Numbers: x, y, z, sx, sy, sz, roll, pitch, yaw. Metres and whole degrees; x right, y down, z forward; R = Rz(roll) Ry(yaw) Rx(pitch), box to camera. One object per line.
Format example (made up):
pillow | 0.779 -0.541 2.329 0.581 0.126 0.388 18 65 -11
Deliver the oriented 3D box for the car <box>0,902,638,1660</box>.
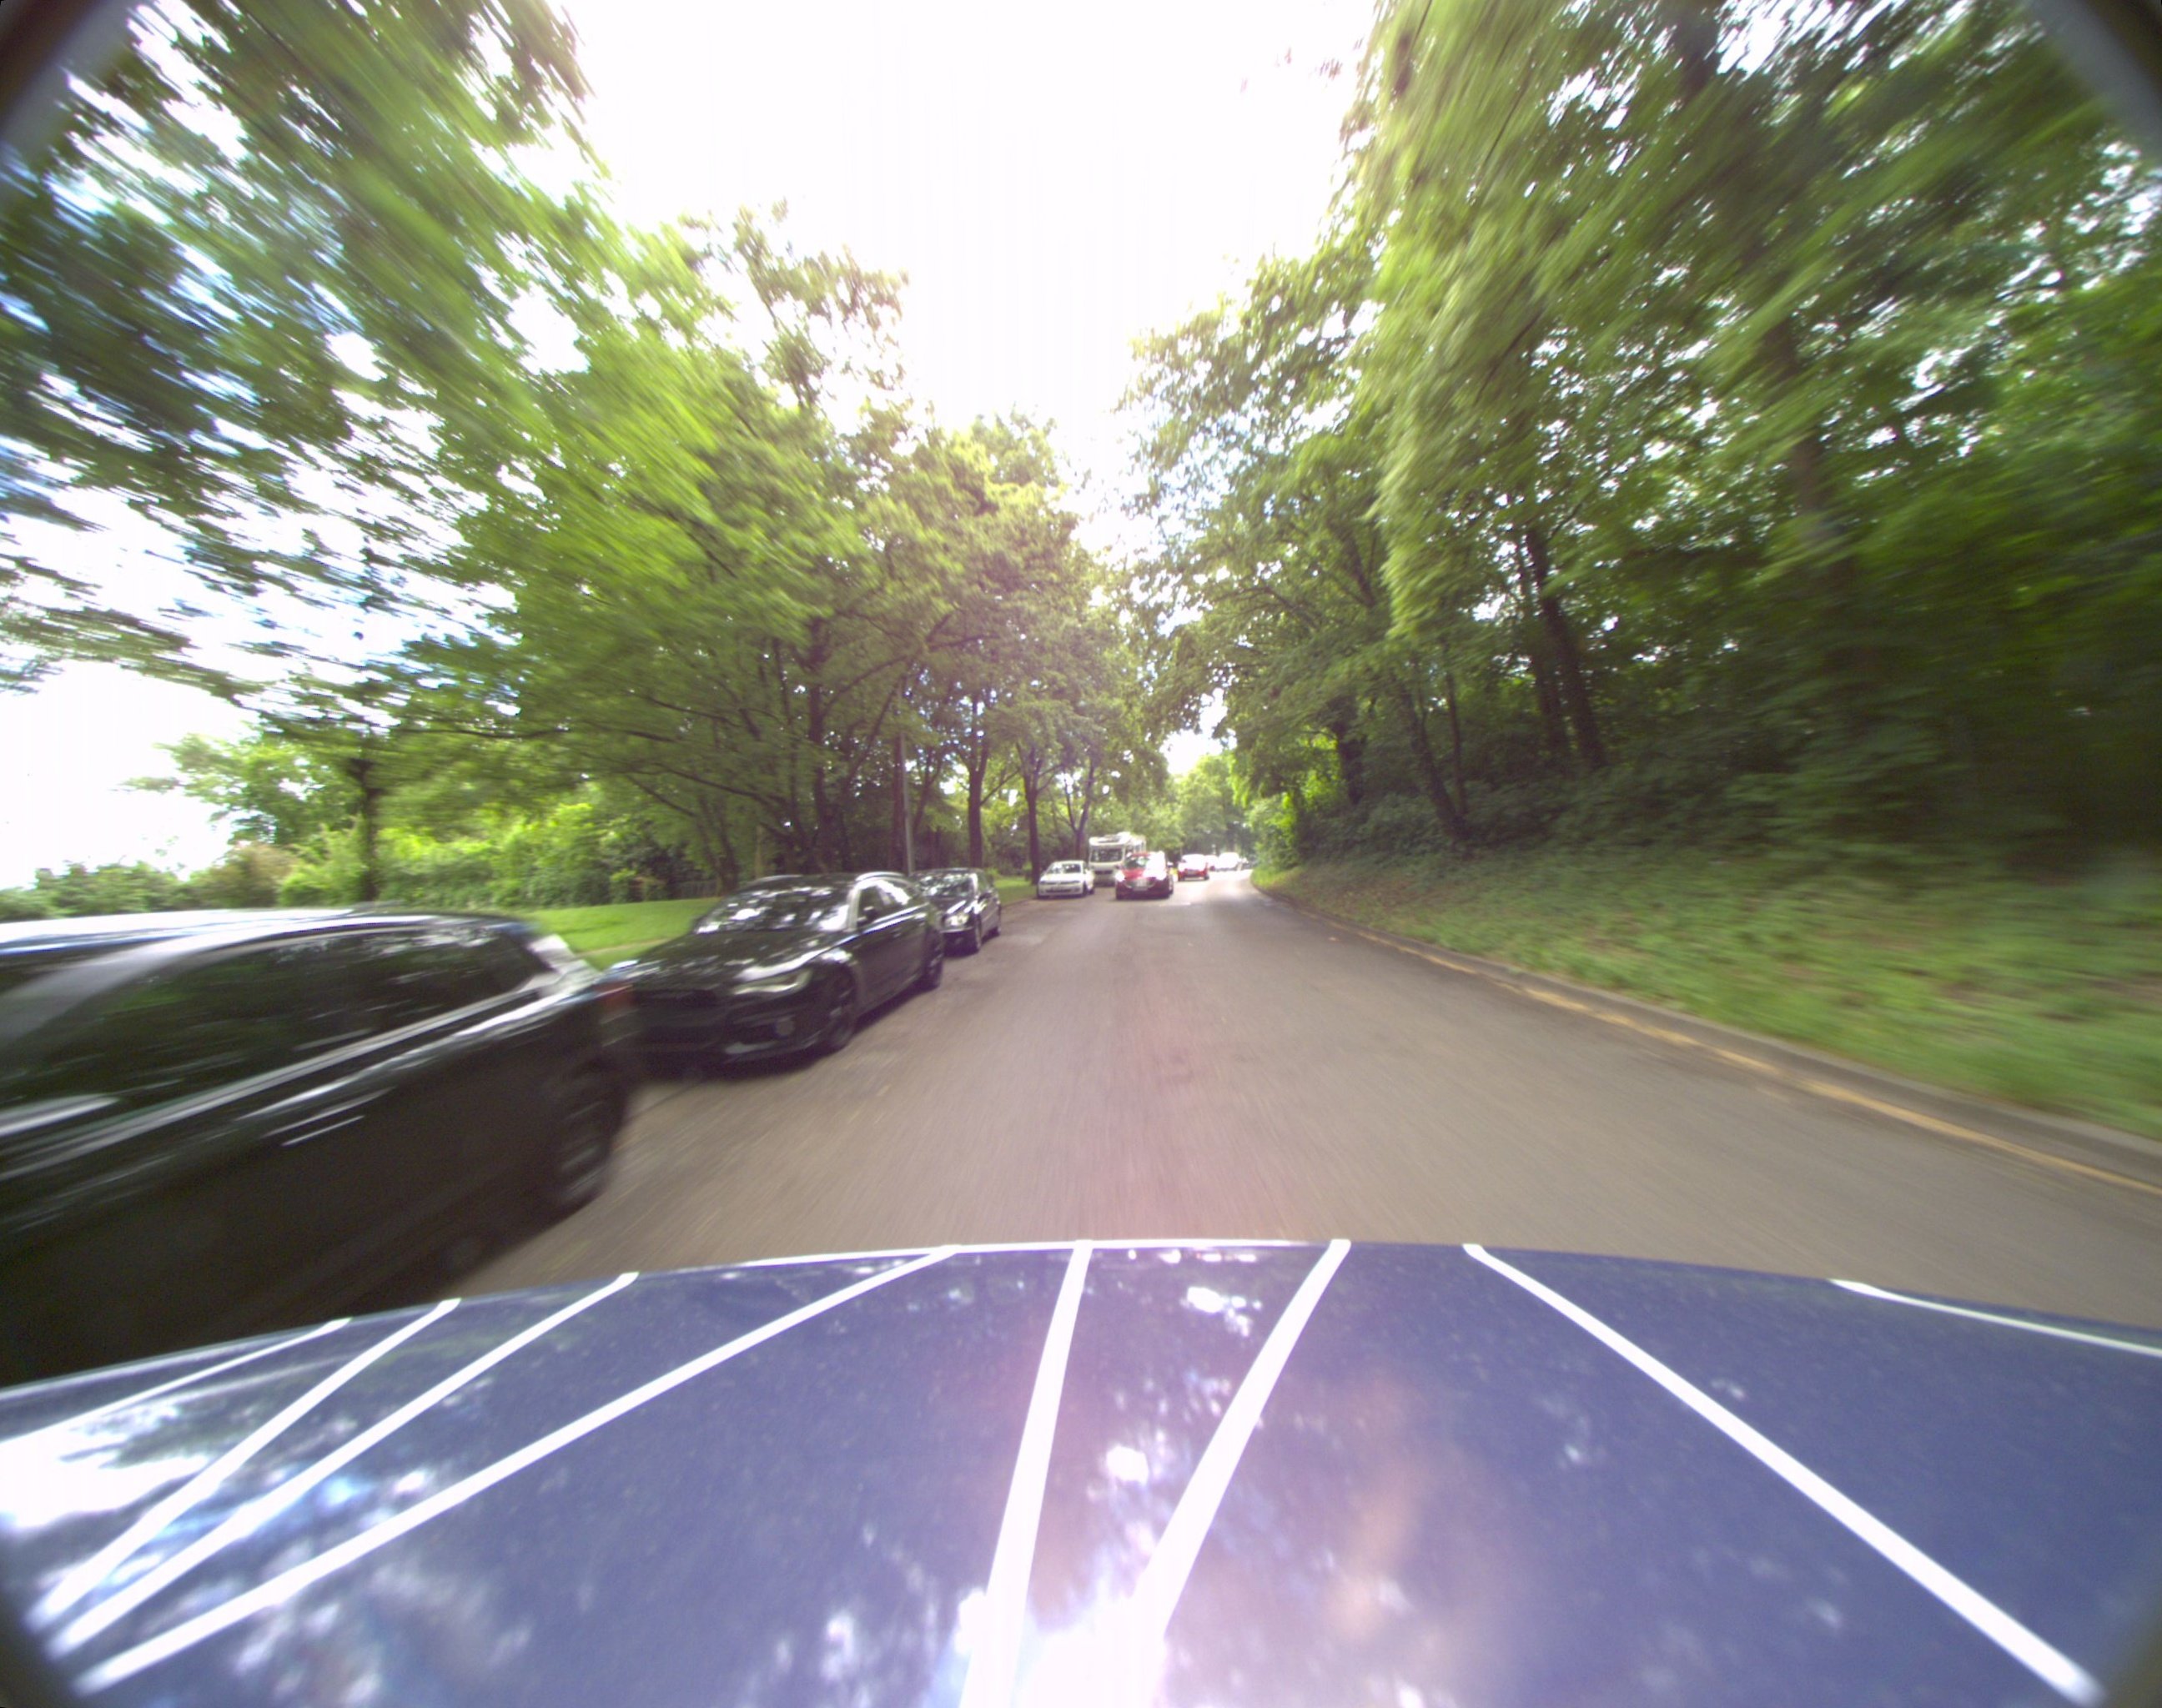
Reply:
car | -3.132 1.003 1.890 1.686 1.456 3.898 -4 0 0

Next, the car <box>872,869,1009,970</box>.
car | -2.374 1.044 13.854 1.593 1.457 4.317 -3 -1 0

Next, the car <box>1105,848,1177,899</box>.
car | 2.313 0.651 27.898 2.002 1.599 4.681 -4 0 11

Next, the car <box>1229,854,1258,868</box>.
car | 17.890 0.736 83.473 1.712 1.248 4.685 -4 -1 29

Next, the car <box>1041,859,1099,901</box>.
car | -0.368 1.019 31.250 1.692 1.473 4.109 -4 0 8

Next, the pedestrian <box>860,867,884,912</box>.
pedestrian | -8.023 1.344 29.168 0.582 1.642 0.872 -4 0 -1

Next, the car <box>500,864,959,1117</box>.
car | -2.802 0.977 7.543 1.917 1.602 4.736 -4 0 5

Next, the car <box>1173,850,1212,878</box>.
car | 6.610 0.545 44.735 1.956 1.464 4.681 -4 0 11

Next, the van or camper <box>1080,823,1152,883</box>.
van or camper | 2.114 -0.078 43.111 2.428 2.962 7.401 -4 0 14

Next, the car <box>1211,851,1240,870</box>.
car | 12.722 0.572 67.189 1.655 1.558 4.045 -4 0 -1

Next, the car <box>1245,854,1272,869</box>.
car | 20.603 0.805 88.041 1.712 1.502 4.685 -4 0 29

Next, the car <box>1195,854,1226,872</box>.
car | 12.376 0.834 72.580 1.712 1.543 4.684 -4 0 24
